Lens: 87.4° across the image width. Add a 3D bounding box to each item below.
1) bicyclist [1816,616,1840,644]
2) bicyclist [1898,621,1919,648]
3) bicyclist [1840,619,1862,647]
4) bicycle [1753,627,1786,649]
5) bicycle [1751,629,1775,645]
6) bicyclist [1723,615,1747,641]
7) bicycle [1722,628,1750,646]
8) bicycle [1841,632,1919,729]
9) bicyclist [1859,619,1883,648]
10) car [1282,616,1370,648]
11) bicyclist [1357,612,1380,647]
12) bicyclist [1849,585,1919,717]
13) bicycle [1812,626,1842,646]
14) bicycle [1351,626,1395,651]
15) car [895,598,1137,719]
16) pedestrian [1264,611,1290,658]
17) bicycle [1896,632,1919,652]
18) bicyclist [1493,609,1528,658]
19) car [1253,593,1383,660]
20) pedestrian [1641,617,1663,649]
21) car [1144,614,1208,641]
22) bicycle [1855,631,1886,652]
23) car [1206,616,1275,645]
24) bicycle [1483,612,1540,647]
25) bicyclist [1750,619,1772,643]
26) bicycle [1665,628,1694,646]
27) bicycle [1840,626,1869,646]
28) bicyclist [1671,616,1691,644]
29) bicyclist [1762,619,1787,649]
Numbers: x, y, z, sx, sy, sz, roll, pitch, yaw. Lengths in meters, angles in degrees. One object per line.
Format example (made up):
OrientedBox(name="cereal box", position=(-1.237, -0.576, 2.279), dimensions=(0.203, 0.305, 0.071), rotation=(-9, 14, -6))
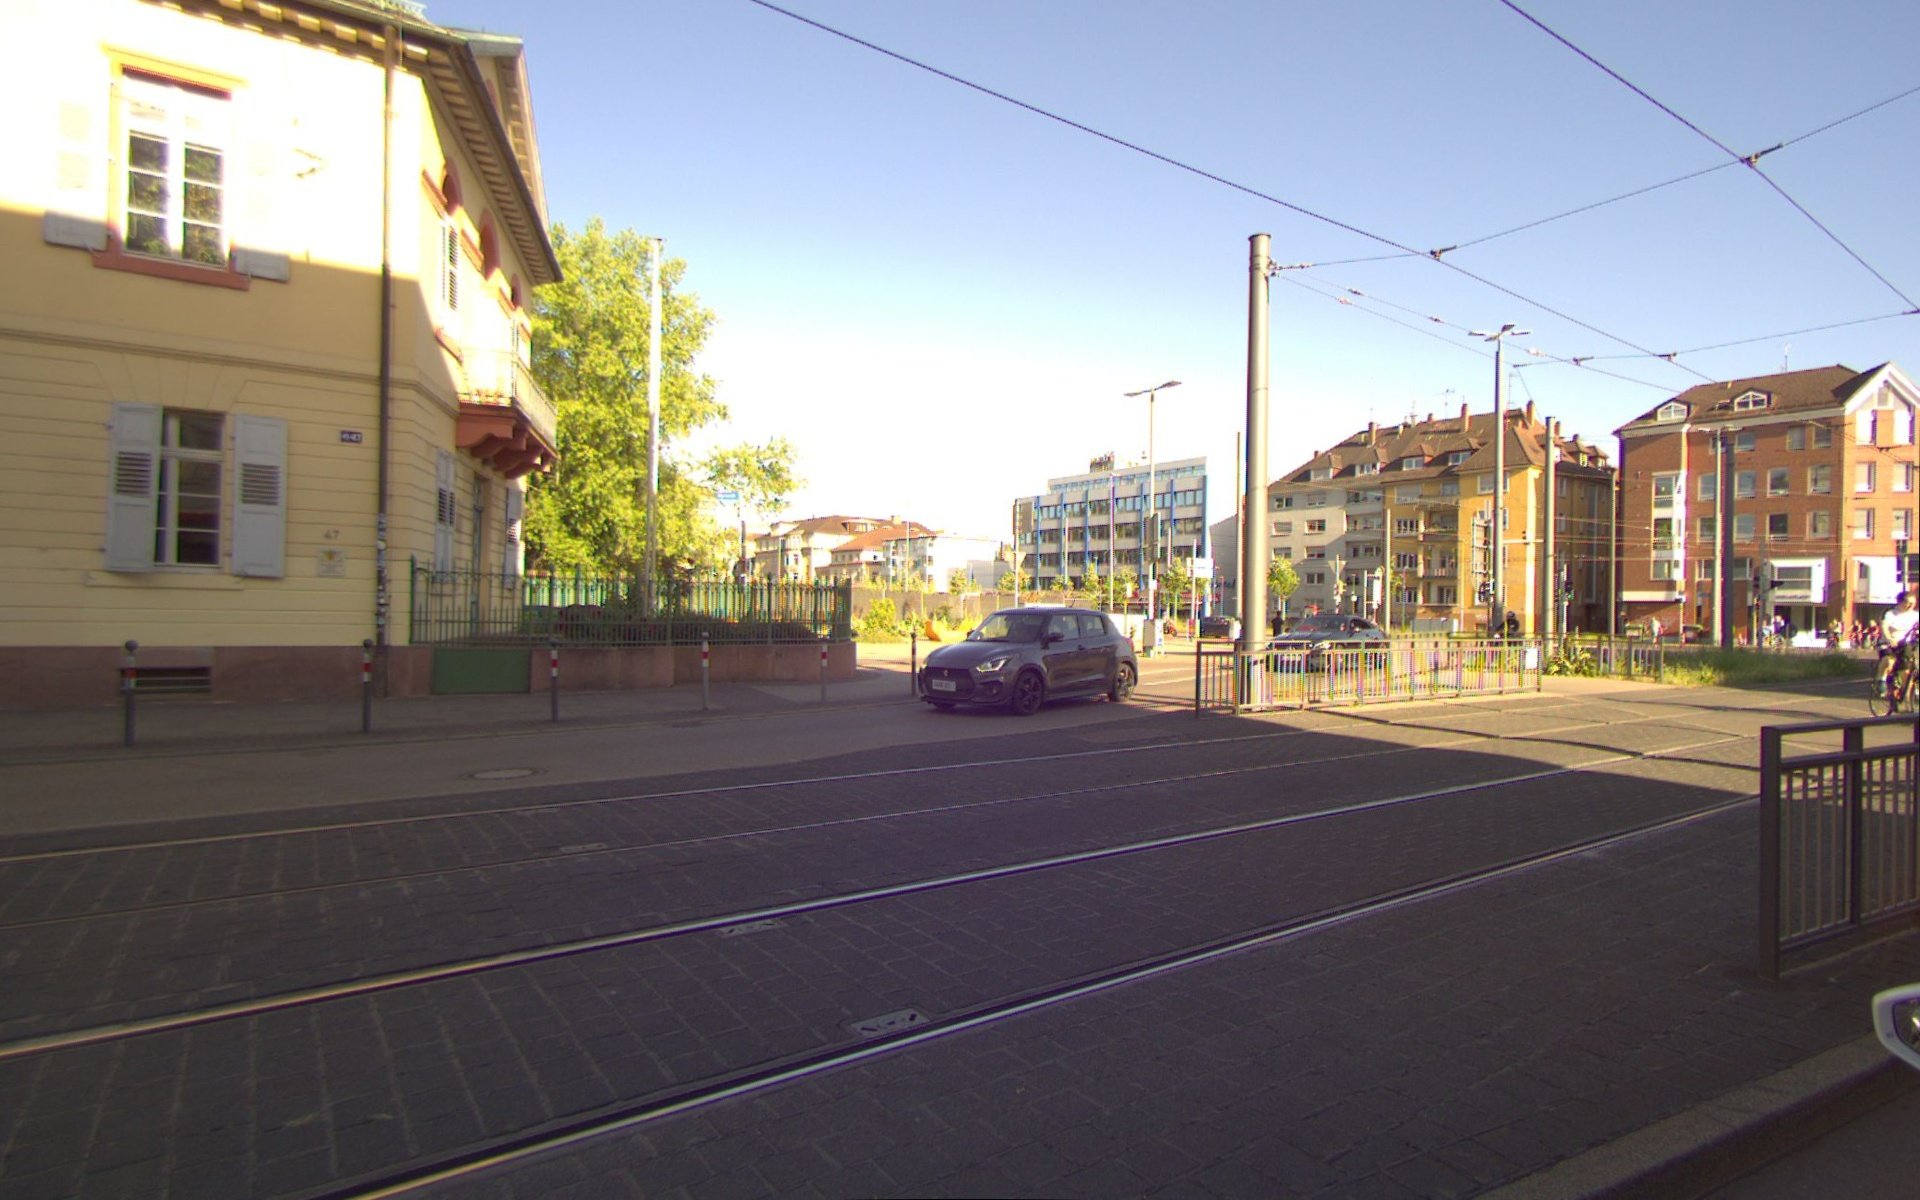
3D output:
OrientedBox(name="bicyclist", position=(49.315, 1.695, 57.071), dimensions=(0.737, 1.584, 0.780), rotation=(2, 0, -28))
OrientedBox(name="bicyclist", position=(55.450, 2.016, 58.640), dimensions=(0.737, 1.584, 0.781), rotation=(2, 0, -28))
OrientedBox(name="bicyclist", position=(51.761, 1.922, 58.356), dimensions=(0.737, 1.584, 0.781), rotation=(1, 0, -28))
OrientedBox(name="bicycle", position=(42.913, 2.023, 53.229), dimensions=(2.197, 1.103, 0.535), rotation=(2, 0, -28))
OrientedBox(name="bicycle", position=(50.486, 2.342, 63.161), dimensions=(1.669, 0.994, 0.403), rotation=(2, 0, -22))
OrientedBox(name="bicyclist", position=(45.473, 1.637, 58.926), dimensions=(0.688, 1.523, 0.894), rotation=(2, 0, -30))
OrientedBox(name="bicycle", position=(45.611, 2.171, 59.044), dimensions=(2.220, 0.984, 0.521), rotation=(2, 0, -31))
OrientedBox(name="bicycle", position=(13.038, 1.083, 13.907), dimensions=(0.476, 1.238, 1.856), rotation=(2, 0, 16))
OrientedBox(name="bicyclist", position=(50.345, 1.849, 55.506), dimensions=(0.737, 1.584, 0.781), rotation=(1, 0, -28))
OrientedBox(name="car", position=(21.801, 1.884, 59.970), dimensions=(1.984, 1.723, 4.545), rotation=(2, 0, -41))
OrientedBox(name="bicyclist", position=(22.172, 1.599, 54.508), dimensions=(0.785, 1.832, 0.892), rotation=(2, 0, -42))
OrientedBox(name="bicyclist", position=(13.039, 0.698, 13.951), dimensions=(0.743, 1.783, 0.753), rotation=(2, 0, 16))
OrientedBox(name="bicycle", position=(49.231, 2.031, 57.047), dimensions=(2.255, 1.103, 0.527), rotation=(1, 0, -28))
OrientedBox(name="bicycle", position=(22.313, 2.088, 54.333), dimensions=(0.542, 1.230, 2.168), rotation=(2, 0, -41))
OrientedBox(name="car", position=(0.949, 0.800, 15.068), dimensions=(1.621, 1.546, 3.847), rotation=(2, 0, 40))
OrientedBox(name="pedestrian", position=(11.668, 1.255, 36.986), dimensions=(0.760, 1.703, 0.591), rotation=(2, 0, 31))
OrientedBox(name="bicycle", position=(55.448, 2.449, 58.639), dimensions=(2.197, 1.103, 0.527), rotation=(2, 0, -28))
OrientedBox(name="bicyclist", position=(17.984, 1.087, 32.844), dimensions=(0.581, 1.547, 0.783), rotation=(2, 0, -26))
OrientedBox(name="car", position=(9.173, 0.664, 25.572), dimensions=(1.692, 1.547, 4.014), rotation=(2, 0, 42))
OrientedBox(name="pedestrian", position=(40.666, 1.909, 59.034), dimensions=(0.737, 1.845, 0.781), rotation=(2, 0, -28))
OrientedBox(name="car", position=(14.707, 1.871, 68.606), dimensions=(1.895, 1.708, 3.916), rotation=(2, 0, -41))
OrientedBox(name="bicycle", position=(50.210, 2.288, 55.384), dimensions=(2.197, 1.103, 0.527), rotation=(1, 0, -28))
OrientedBox(name="car", position=(18.001, 1.942, 64.575), dimensions=(1.762, 1.694, 3.955), rotation=(2, 0, -39))
OrientedBox(name="bicycle", position=(18.045, 0.974, 32.843), dimensions=(2.172, 1.108, 0.457), rotation=(2, 0, -26))
OrientedBox(name="bicyclist", position=(50.354, 1.958, 63.129), dimensions=(0.958, 1.490, 0.702), rotation=(1, 0, -22))
OrientedBox(name="bicycle", position=(39.671, 2.043, 55.355), dimensions=(2.220, 0.984, 0.444), rotation=(2, 0, -31))
OrientedBox(name="bicycle", position=(52.202, 2.106, 58.615), dimensions=(2.255, 1.103, 0.527), rotation=(2, 0, -28))
OrientedBox(name="bicyclist", position=(39.731, 1.648, 55.371), dimensions=(0.688, 1.523, 0.630), rotation=(2, 0, -30))
OrientedBox(name="bicyclist", position=(43.271, 1.797, 53.395), dimensions=(0.737, 1.584, 0.781), rotation=(2, 0, -28))
